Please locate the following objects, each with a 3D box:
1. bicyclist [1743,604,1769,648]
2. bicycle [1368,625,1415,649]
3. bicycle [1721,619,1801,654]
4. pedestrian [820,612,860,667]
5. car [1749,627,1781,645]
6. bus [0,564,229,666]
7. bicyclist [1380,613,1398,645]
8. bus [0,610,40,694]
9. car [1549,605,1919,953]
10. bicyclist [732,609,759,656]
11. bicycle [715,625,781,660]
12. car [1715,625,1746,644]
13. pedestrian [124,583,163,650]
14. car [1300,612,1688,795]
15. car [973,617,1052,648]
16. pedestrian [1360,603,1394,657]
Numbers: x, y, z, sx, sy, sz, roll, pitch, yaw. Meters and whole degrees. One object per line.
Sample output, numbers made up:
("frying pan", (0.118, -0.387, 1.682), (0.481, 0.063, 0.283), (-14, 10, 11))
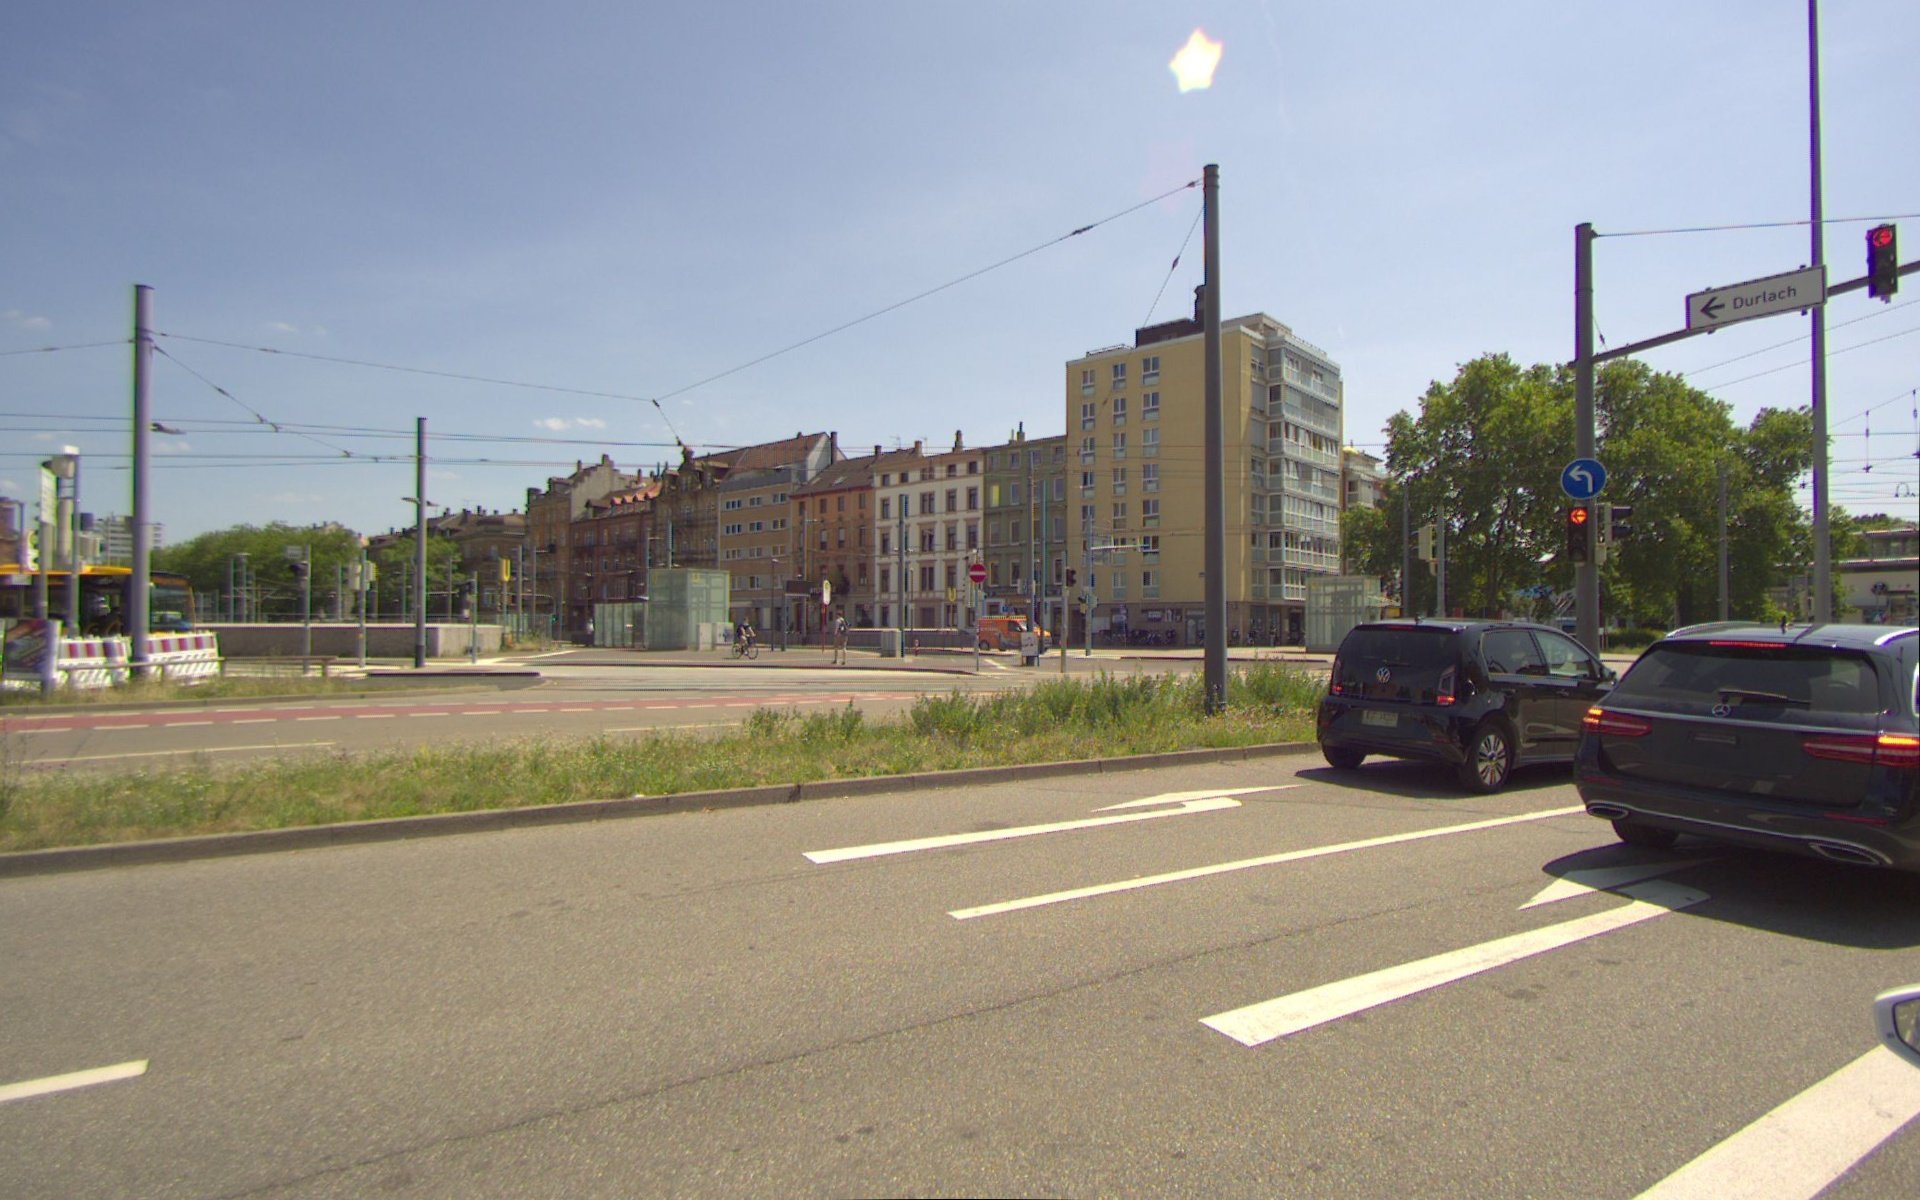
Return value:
("bicyclist", (36.643, 1.182, 46.248), (0.653, 1.964, 0.759), (-1, 1, -32))
("bicycle", (27.028, 2.315, 63.001), (0.664, 1.404, 2.754), (-1, 0, -38))
("bicycle", (36.731, 1.649, 46.121), (0.627, 1.483, 2.810), (-1, 0, -32))
("pedestrian", (-4.409, 1.439, 36.930), (1.162, 1.959, 0.900), (-1, 1, 32))
("car", (72.427, 3.202, 90.354), (3.389, 1.437, 1.499), (-1, 1, -37))
("bus", (-30.986, 0.488, 32.099), (12.020, 3.081, 3.737), (0, -1, -5))
("bicyclist", (26.955, 1.832, 63.068), (0.621, 1.992, 0.839), (-1, 1, -38))
("bus", (-16.770, 0.828, 13.957), (5.768, 1.266, 1.234), (-1, 0, -39))
("car", (5.879, 0.876, 6.466), (4.535, 1.577, 1.708), (1, -2, -32))
("bicyclist", (-9.602, 1.440, 44.922), (0.784, 2.040, 0.859), (-1, 1, 38))
("bicycle", (-9.496, 1.868, 44.815), (3.411, 1.466, 0.874), (-1, 0, 38))
("car", (71.249, 3.176, 92.874), (3.405, 1.528, 1.414), (-1, 0, -37))
("pedestrian", (-25.234, 0.504, 31.060), (0.651, 2.022, 0.611), (-1, 1, -1))
("car", (5.324, 0.890, 9.884), (3.955, 1.482, 1.613), (1, -1, -32))
("car", (2.975, 1.846, 57.579), (4.575, 1.635, 1.665), (-1, 0, 45))
("pedestrian", (23.495, 1.647, 56.633), (1.322, 2.977, 1.206), (-1, 1, -34))
